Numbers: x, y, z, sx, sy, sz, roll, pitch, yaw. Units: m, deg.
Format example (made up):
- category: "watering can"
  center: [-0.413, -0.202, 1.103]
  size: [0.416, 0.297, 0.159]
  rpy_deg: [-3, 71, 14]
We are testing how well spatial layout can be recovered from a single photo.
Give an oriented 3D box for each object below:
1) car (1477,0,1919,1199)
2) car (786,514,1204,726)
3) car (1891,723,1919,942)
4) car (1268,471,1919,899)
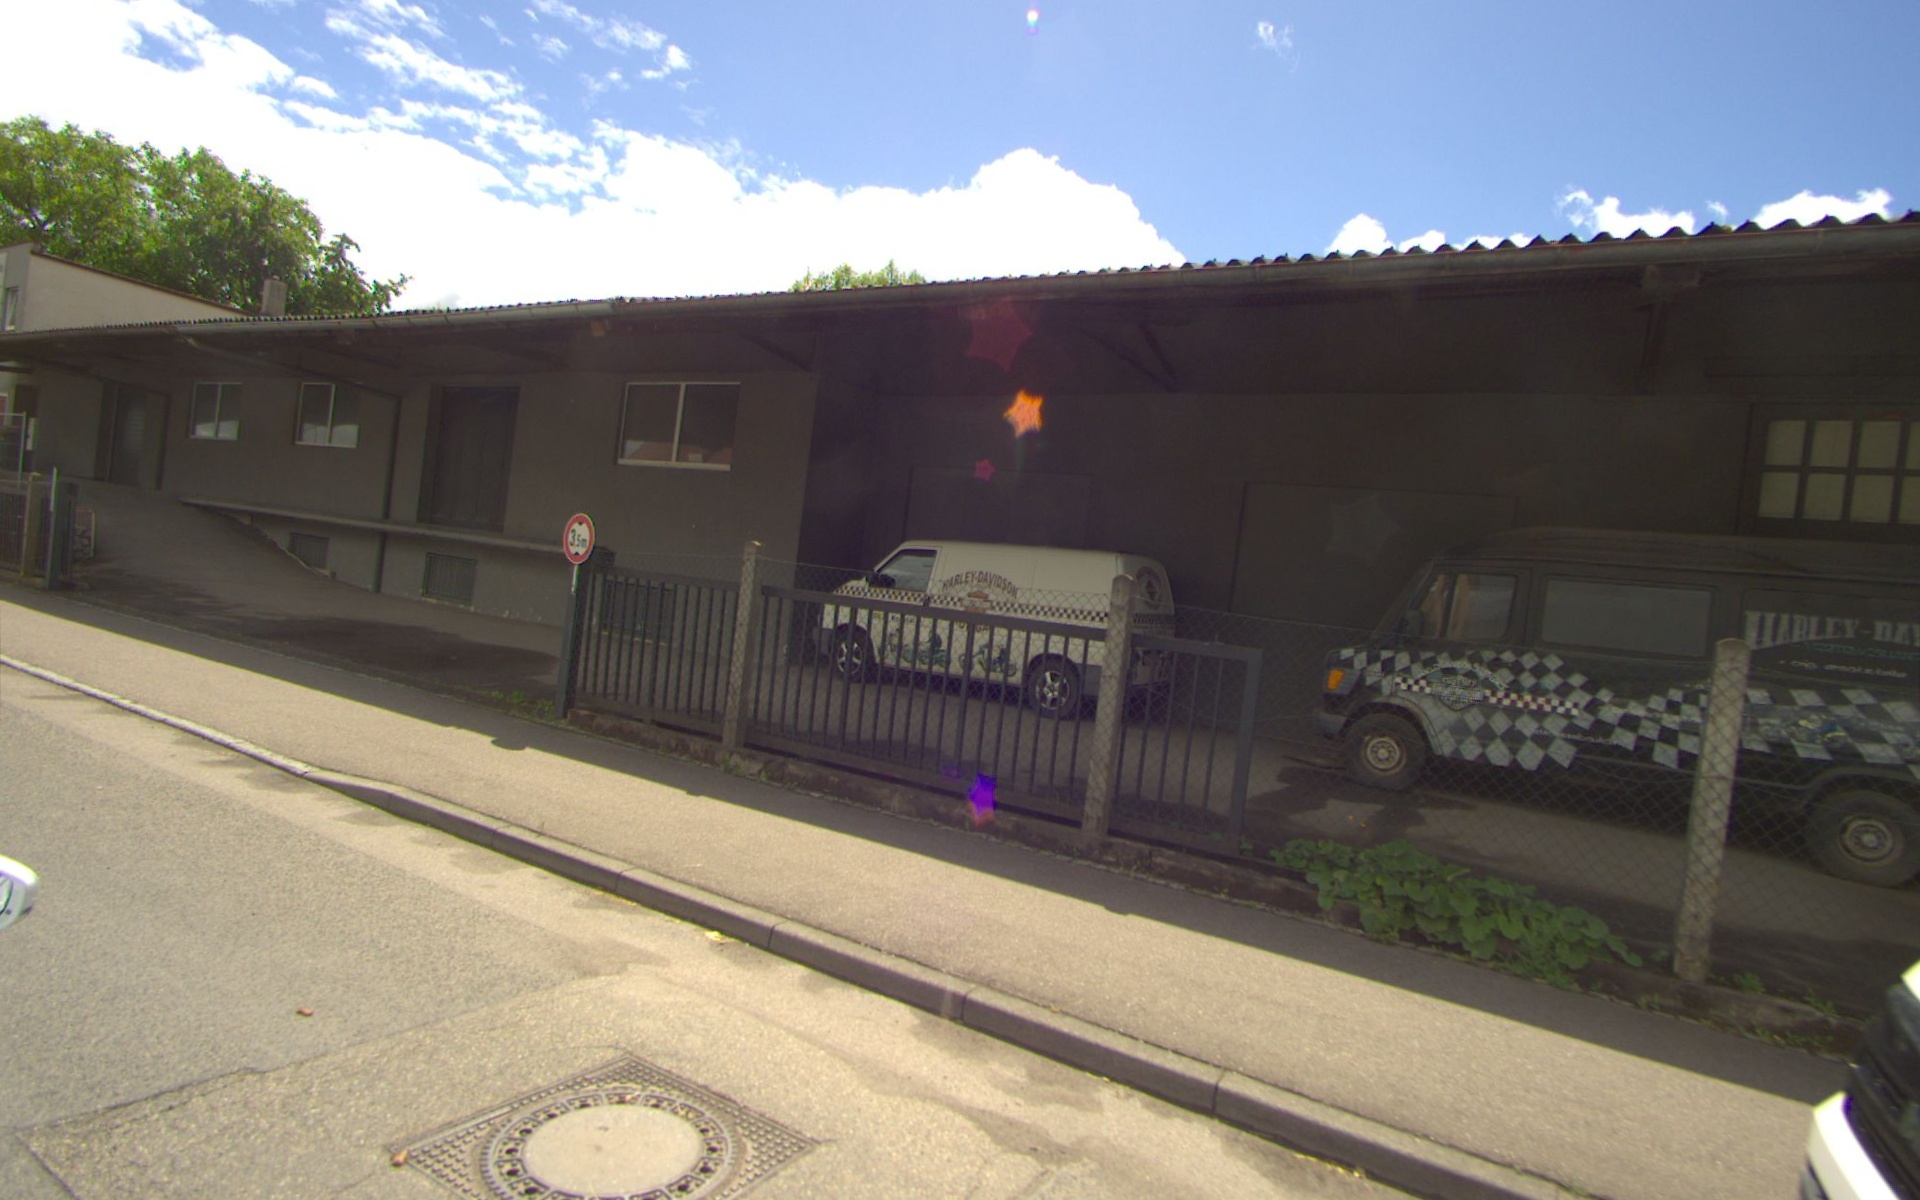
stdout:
- category: "car"
  center: [3.916, 0.528, 0.241]
  size: [6.544, 2.724, 2.217]
  rpy_deg: [7, 1, 30]
- category: "car"
  center: [0.363, 0.178, 12.771]
  size: [4.771, 1.934, 1.996]
  rpy_deg: [8, 1, 31]
- category: "car"
  center: [7.548, 1.487, 4.283]
  size: [4.843, 1.508, 1.767]
  rpy_deg: [8, 0, 31]
- category: "car"
  center: [5.806, 0.578, 8.739]
  size: [5.403, 2.715, 2.021]
  rpy_deg: [8, 1, 29]
